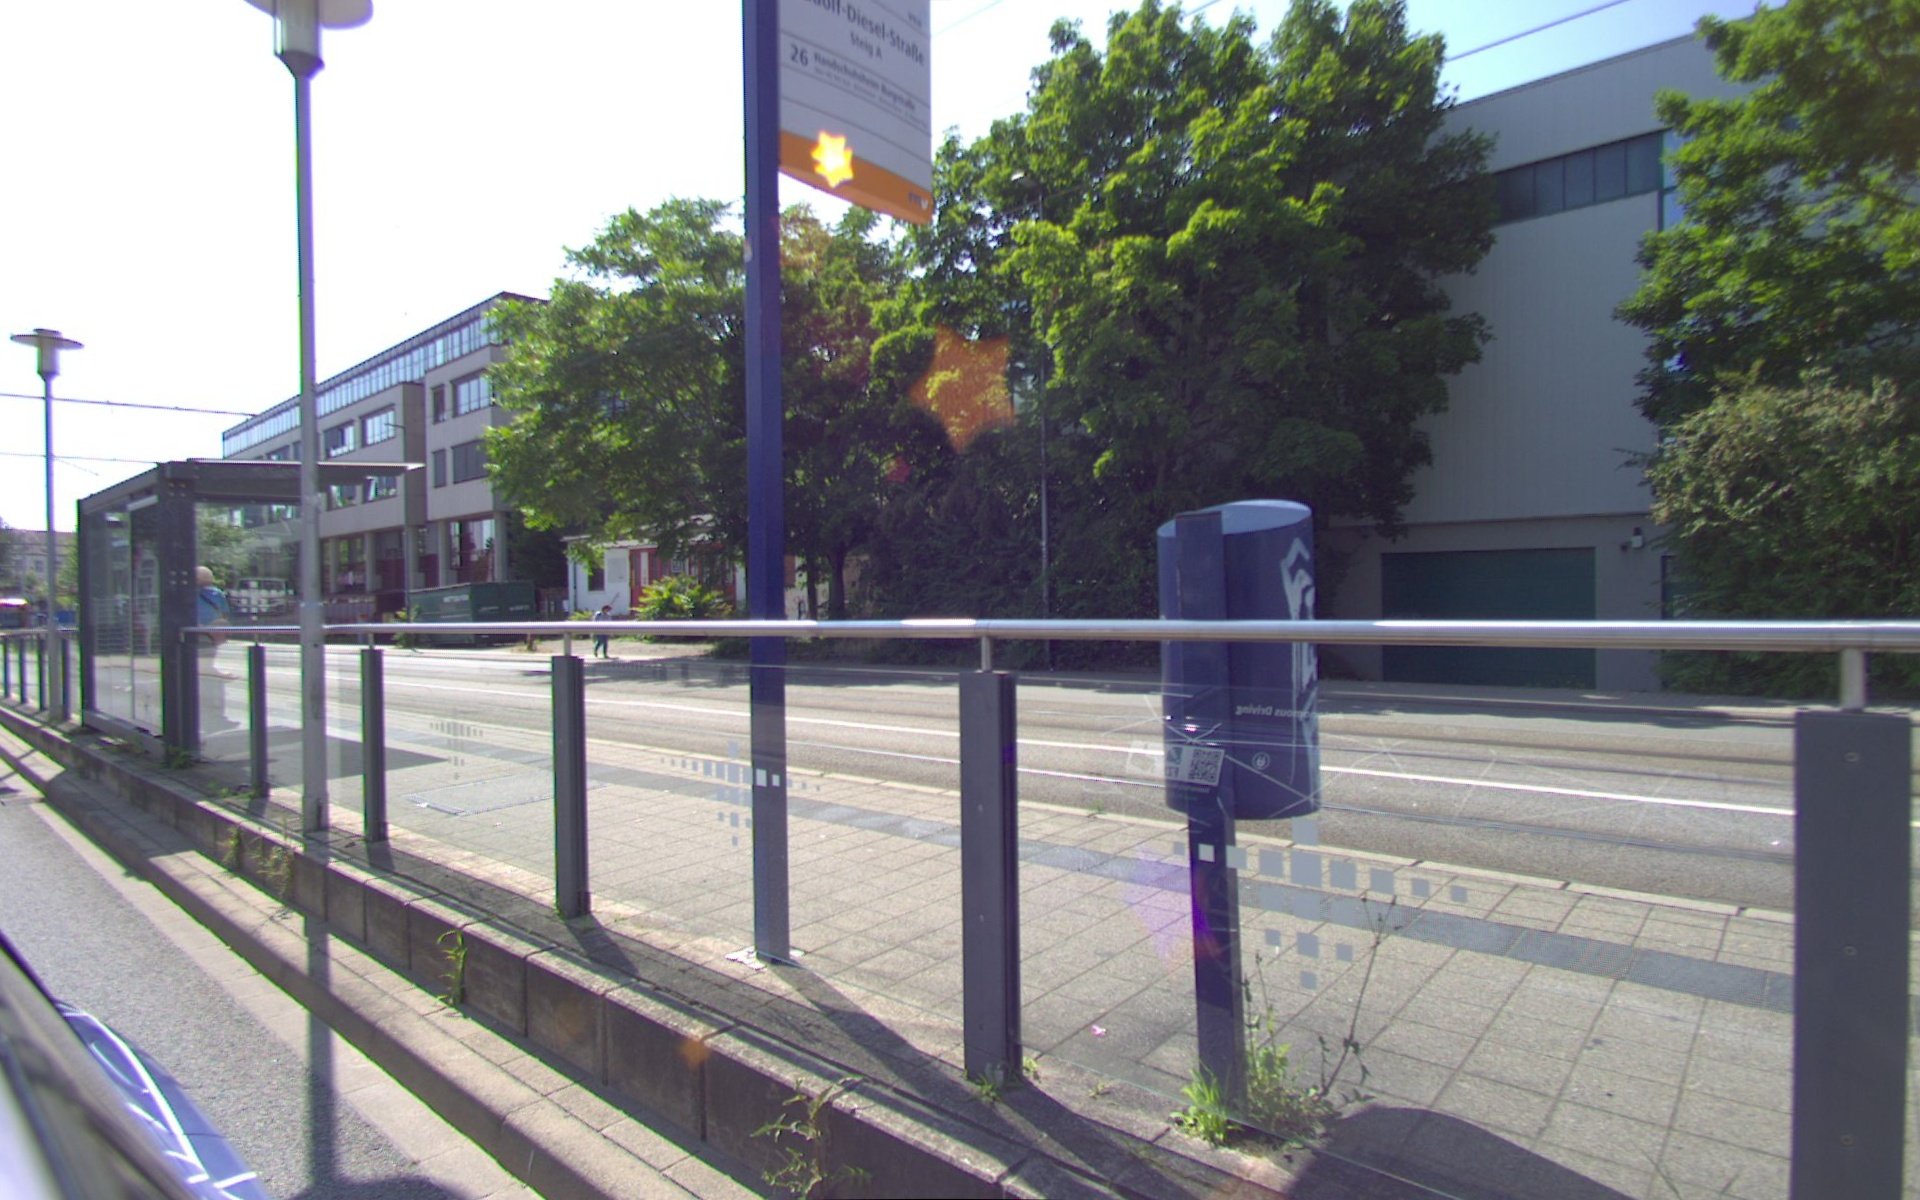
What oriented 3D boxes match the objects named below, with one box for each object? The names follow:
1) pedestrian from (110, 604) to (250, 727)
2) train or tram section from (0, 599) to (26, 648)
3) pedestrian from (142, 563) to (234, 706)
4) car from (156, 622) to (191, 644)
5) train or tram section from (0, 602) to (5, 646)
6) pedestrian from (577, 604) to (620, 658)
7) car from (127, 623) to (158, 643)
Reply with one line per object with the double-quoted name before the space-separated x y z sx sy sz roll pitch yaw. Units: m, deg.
"pedestrian" -7.609 0.614 9.882 0.726 1.107 0.933 -3 0 41
"train or tram section" -73.630 1.818 76.912 12.322 3.511 2.646 -2 -1 41
"pedestrian" -9.834 0.422 12.894 0.944 1.737 0.716 -3 0 42
"car" -61.591 2.550 79.249 1.969 1.635 4.005 0 -1 -41
"train or tram section" -83.247 2.118 85.396 13.384 3.511 2.646 -2 -1 42
"pedestrian" -10.604 0.903 29.712 0.845 1.538 0.862 -2 -1 41
"car" -67.657 2.724 83.722 1.844 1.630 4.005 0 -1 -41
